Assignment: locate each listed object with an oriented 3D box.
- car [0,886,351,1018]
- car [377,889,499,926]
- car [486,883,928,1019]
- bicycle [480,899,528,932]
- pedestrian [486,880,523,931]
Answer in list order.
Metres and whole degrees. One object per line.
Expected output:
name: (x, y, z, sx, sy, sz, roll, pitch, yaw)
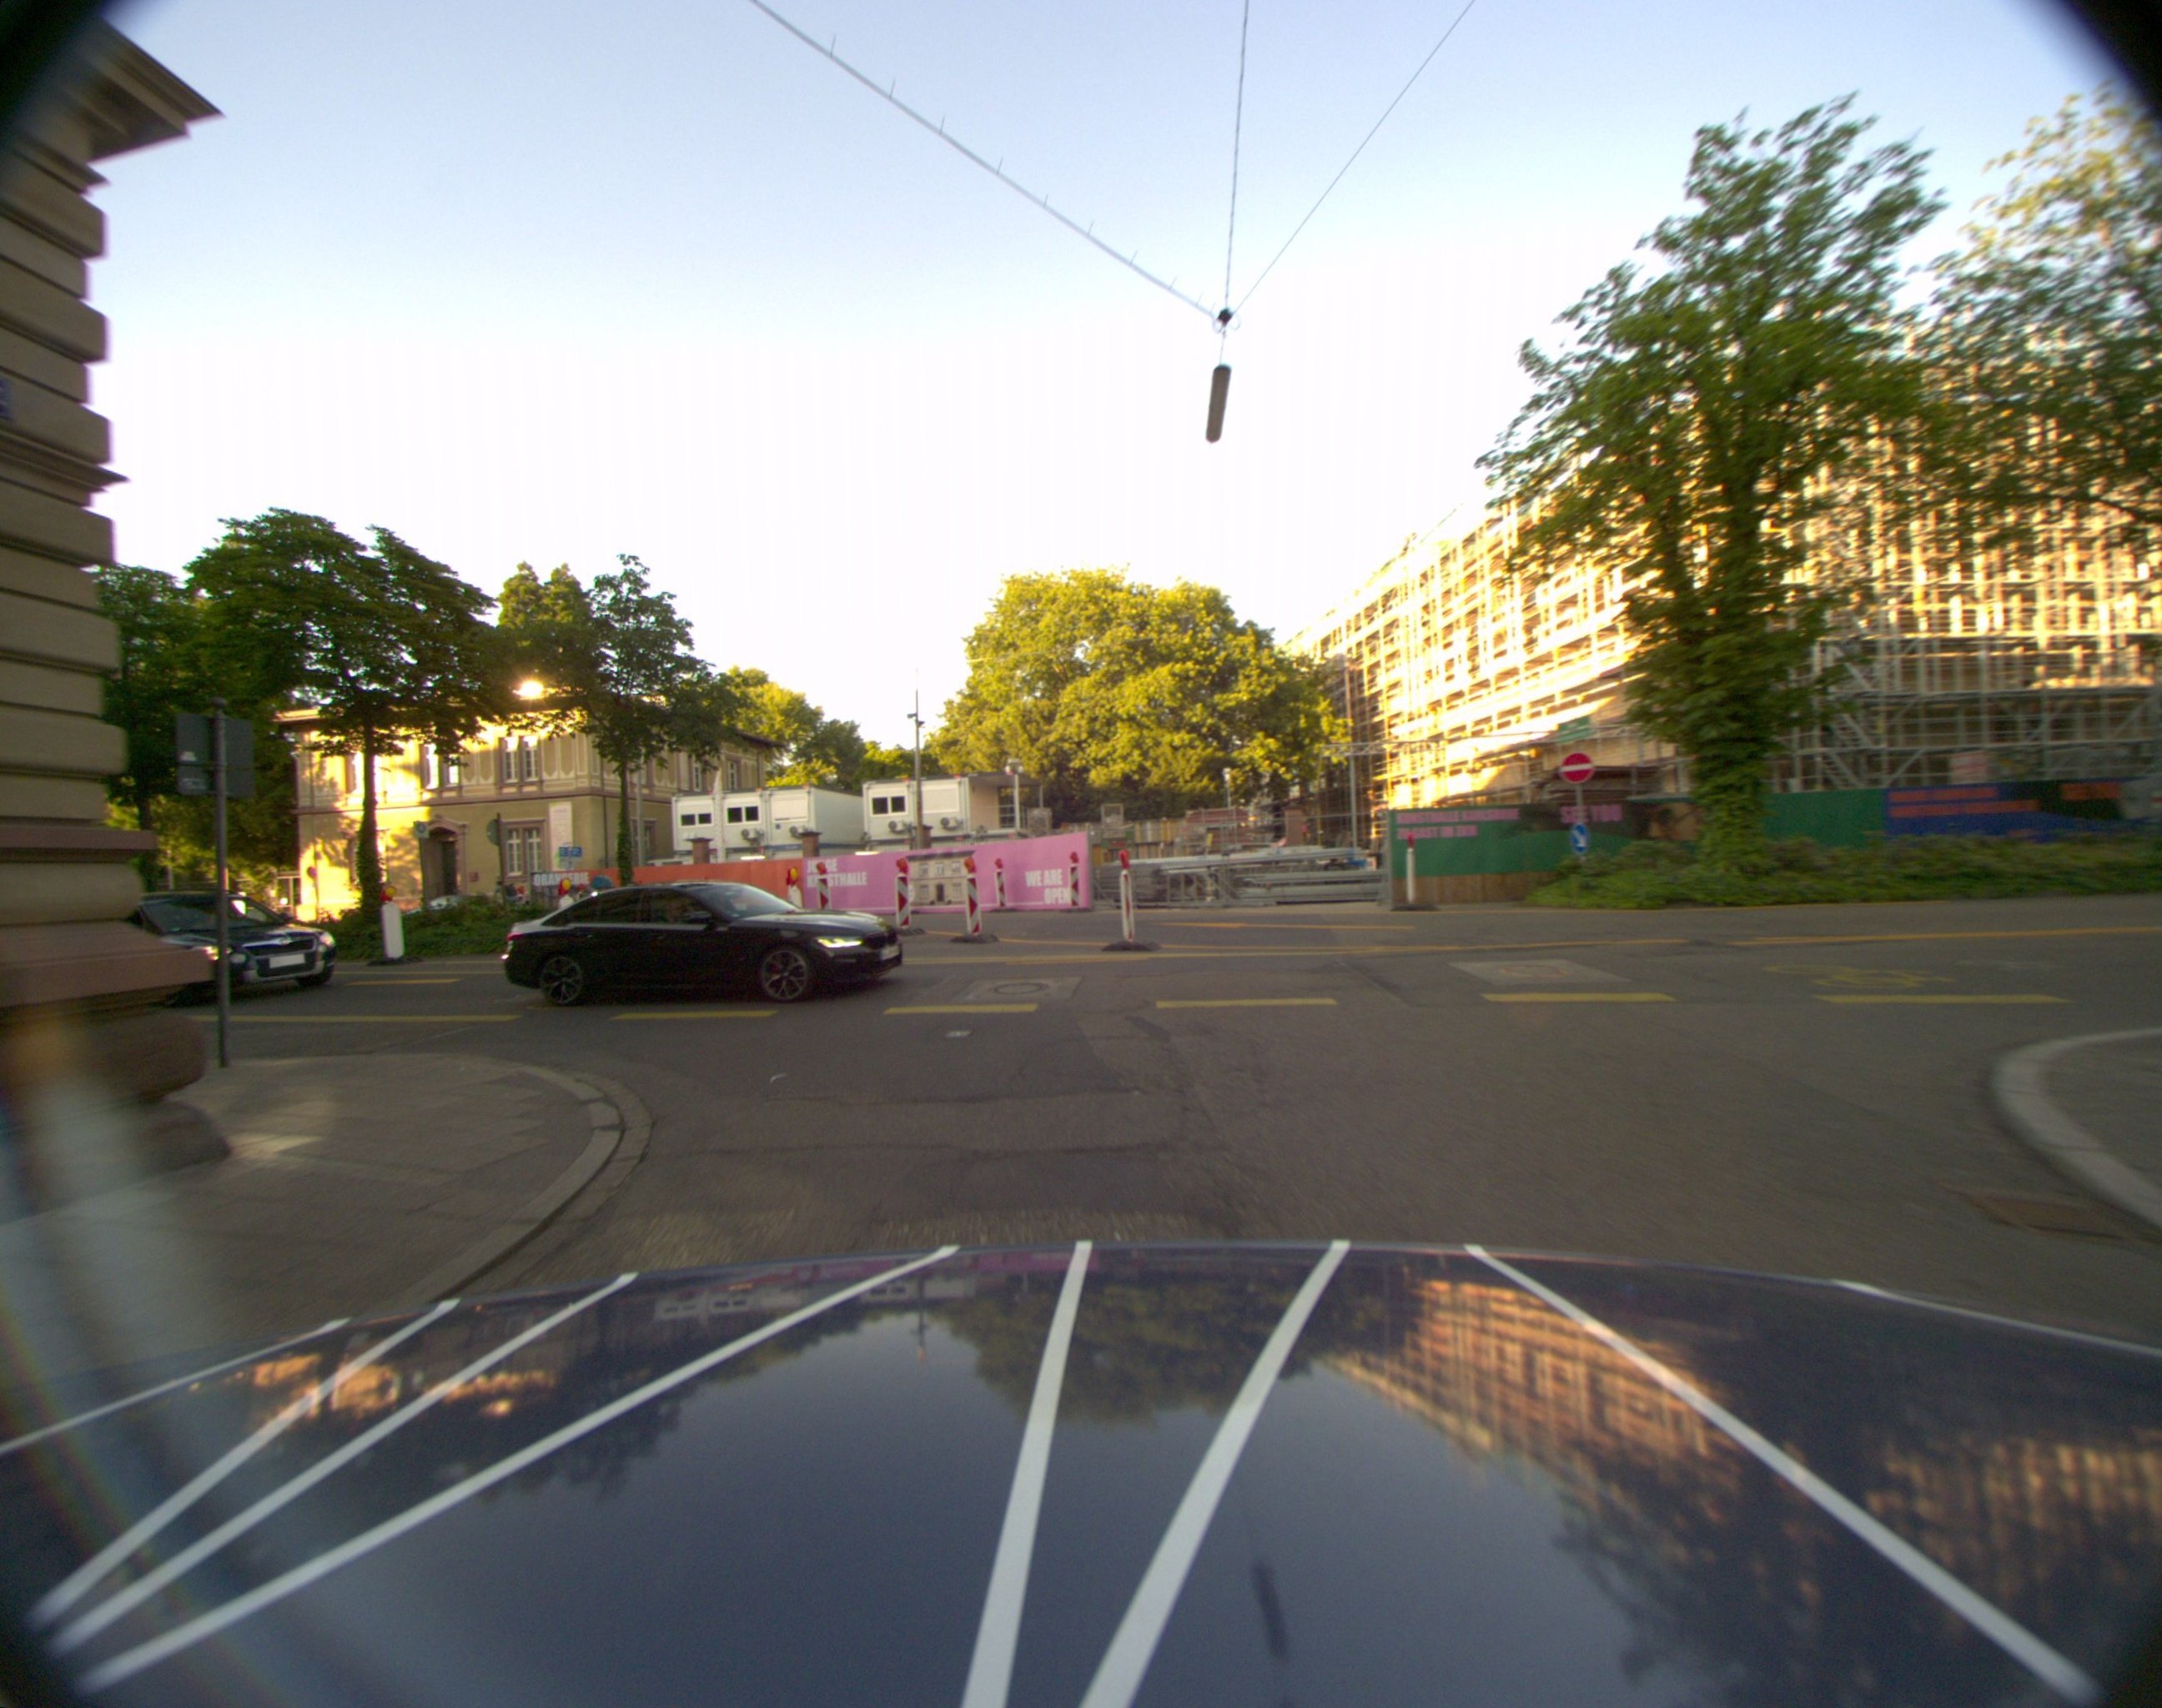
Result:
car: (-14.007, 1.475, 11.785, 4.216, 1.674, 1.841, -3, 1, 15)
car: (-26.962, 2.229, 31.933, 3.882, 1.343, 1.686, -3, -2, 7)
car: (-4.620, 1.191, 9.691, 4.774, 1.378, 1.967, -3, 0, 11)
bicycle: (-19.602, 2.077, 25.797, 2.115, 1.031, 0.764, -3, 0, 39)
pedestrian: (-19.512, 1.741, 25.703, 0.893, 1.664, 0.739, -3, 0, 39)
